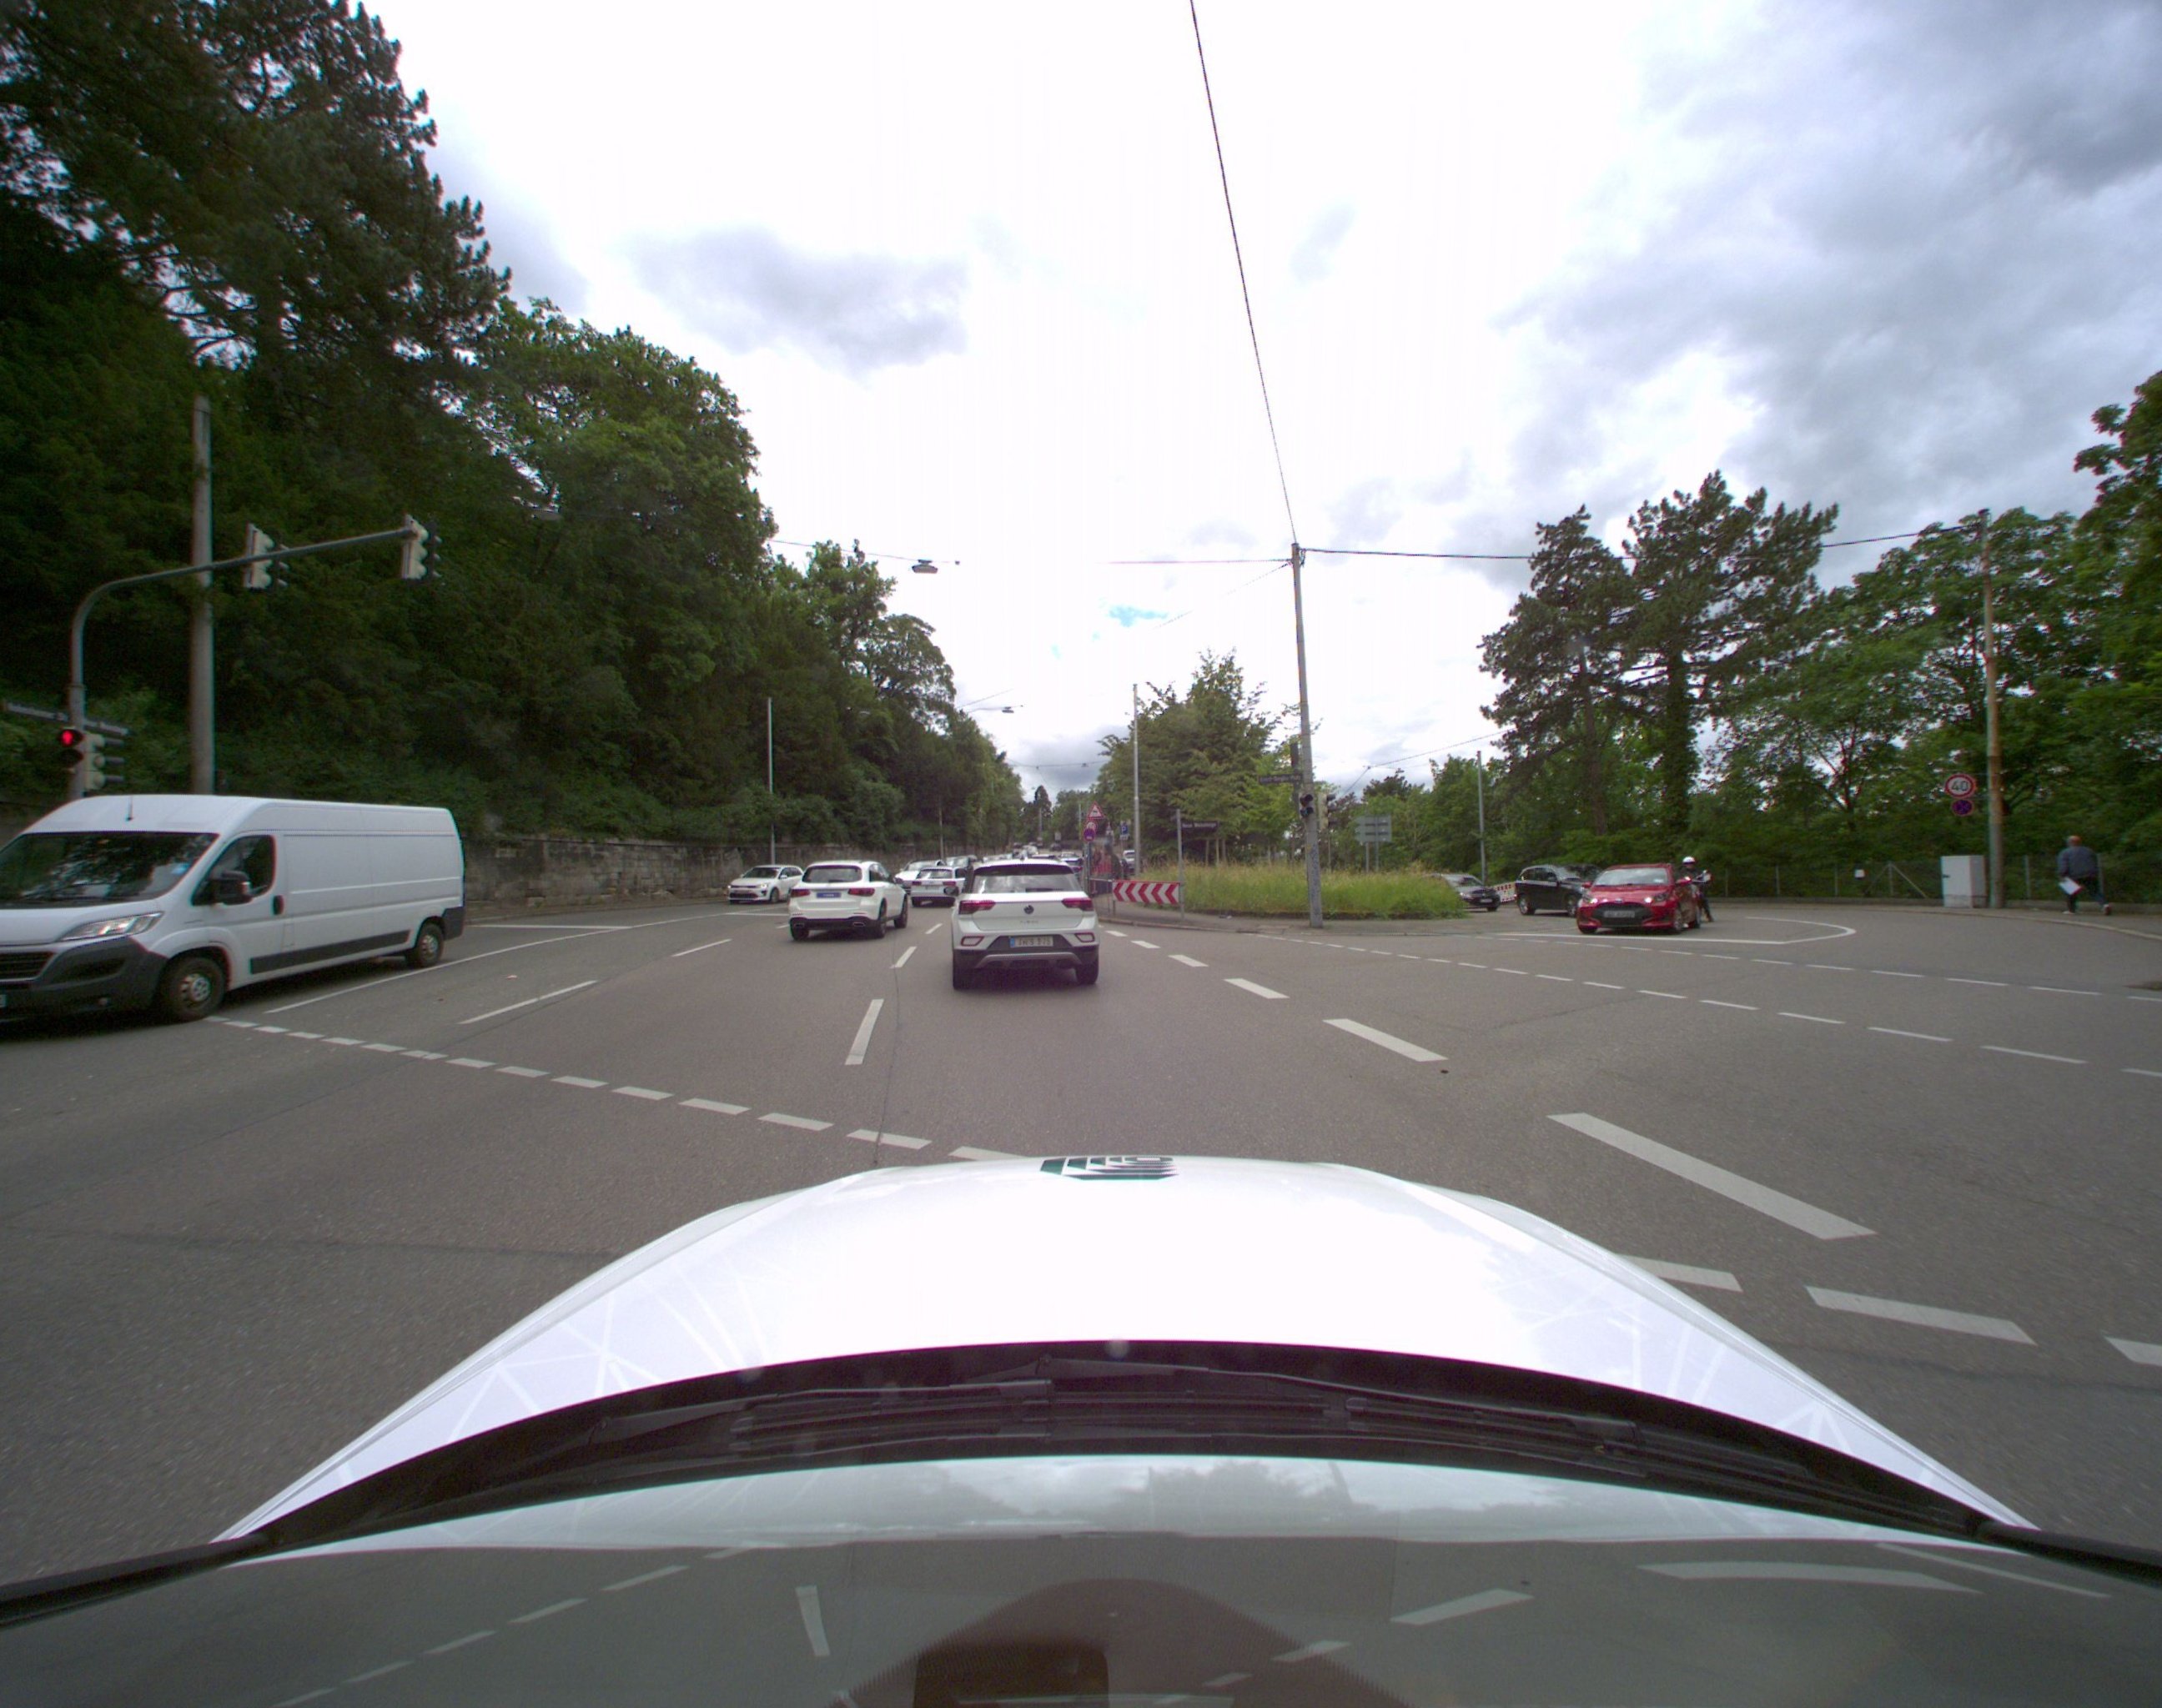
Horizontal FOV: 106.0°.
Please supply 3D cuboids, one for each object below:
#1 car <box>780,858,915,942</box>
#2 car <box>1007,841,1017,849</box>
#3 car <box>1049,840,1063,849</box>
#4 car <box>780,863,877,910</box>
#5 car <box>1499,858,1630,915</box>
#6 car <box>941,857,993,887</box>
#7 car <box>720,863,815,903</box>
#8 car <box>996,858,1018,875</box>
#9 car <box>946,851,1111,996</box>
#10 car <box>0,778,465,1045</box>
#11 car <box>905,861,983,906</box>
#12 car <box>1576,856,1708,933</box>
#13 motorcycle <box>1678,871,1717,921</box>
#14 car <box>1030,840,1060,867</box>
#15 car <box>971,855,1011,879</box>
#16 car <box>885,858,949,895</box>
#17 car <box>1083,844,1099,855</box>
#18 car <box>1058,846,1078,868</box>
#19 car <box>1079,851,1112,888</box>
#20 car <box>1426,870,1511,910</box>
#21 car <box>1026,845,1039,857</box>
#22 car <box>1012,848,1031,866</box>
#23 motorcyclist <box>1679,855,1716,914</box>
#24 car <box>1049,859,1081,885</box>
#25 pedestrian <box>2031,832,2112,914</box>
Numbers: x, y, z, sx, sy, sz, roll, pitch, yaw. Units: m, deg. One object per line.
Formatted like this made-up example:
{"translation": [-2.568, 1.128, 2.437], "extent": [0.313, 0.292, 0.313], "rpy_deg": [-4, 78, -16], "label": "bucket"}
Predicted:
{"translation": [-5.056, 0.914, 18.313], "extent": [1.854, 1.605, 4.665], "rpy_deg": [-1, 0, -3], "label": "car"}
{"translation": [-15.854, -2.011, 186.469], "extent": [1.751, 1.786, 3.982], "rpy_deg": [-1, 0, -13], "label": "car"}
{"translation": [-4.568, -1.696, 147.174], "extent": [1.651, 1.450, 3.526], "rpy_deg": [-1, 0, -17], "label": "car"}
{"translation": [-8.764, 1.074, 28.664], "extent": [1.749, 1.442, 4.484], "rpy_deg": [0, 0, 4], "label": "car"}
{"translation": [16.027, 1.109, 27.323], "extent": [1.806, 1.677, 4.682], "rpy_deg": [-2, -3, 4], "label": "car"}
{"translation": [-6.568, 1.005, 47.275], "extent": [1.883, 1.567, 4.488], "rpy_deg": [0, 0, 7], "label": "car"}
{"translation": [-12.008, 1.070, 31.486], "extent": [1.629, 1.405, 4.073], "rpy_deg": [0, 0, 8], "label": "car"}
{"translation": [-6.830, 1.139, 75.467], "extent": [1.644, 1.518, 3.851], "rpy_deg": [0, -1, 0], "label": "car"}
{"translation": [-0.931, 0.799, 11.320], "extent": [1.755, 1.553, 4.321], "rpy_deg": [-2, 0, -11], "label": "car"}
{"translation": [-10.489, 0.494, 10.226], "extent": [1.995, 2.413, 5.874], "rpy_deg": [-1, 1, -11], "label": "car"}
{"translation": [-5.048, 1.039, 30.661], "extent": [1.857, 1.534, 4.781], "rpy_deg": [0, 0, 3], "label": "car"}
{"translation": [12.145, 0.837, 17.536], "extent": [1.652, 1.468, 3.978], "rpy_deg": [-5, -4, 44], "label": "car"}
{"translation": [15.515, 1.041, 20.473], "extent": [0.593, 1.152, 1.591], "rpy_deg": [-5, -2, 42], "label": "motorcycle"}
{"translation": [-2.297, -0.084, 52.577], "extent": [1.783, 1.636, 3.735], "rpy_deg": [0, 1, -1], "label": "car"}
{"translation": [-5.891, 0.839, 53.783], "extent": [1.808, 1.440, 4.068], "rpy_deg": [0, 1, 5], "label": "car"}
{"translation": [-7.803, 1.036, 39.236], "extent": [1.985, 1.637, 4.401], "rpy_deg": [1, 0, 3], "label": "car"}
{"translation": [1.384, -0.648, 111.113], "extent": [1.645, 1.450, 3.537], "rpy_deg": [-1, 0, -8], "label": "car"}
{"translation": [-1.252, 0.283, 74.523], "extent": [1.630, 1.819, 3.996], "rpy_deg": [-3, 0, -2], "label": "car"}
{"translation": [0.743, 0.743, 40.624], "extent": [1.488, 1.749, 3.121], "rpy_deg": [-1, 0, 3], "label": "car"}
{"translation": [16.059, 1.505, 33.965], "extent": [1.710, 1.485, 4.001], "rpy_deg": [-2, -3, 2], "label": "car"}
{"translation": [-6.439, -0.442, 108.729], "extent": [1.643, 1.450, 3.543], "rpy_deg": [-1, 1, -3], "label": "car"}
{"translation": [-6.672, 0.315, 91.017], "extent": [1.727, 2.013, 3.933], "rpy_deg": [-1, 0, 1], "label": "car"}
{"translation": [15.510, 0.761, 20.487], "extent": [0.593, 1.430, 0.762], "rpy_deg": [-5, -2, 42], "label": "motorcyclist"}
{"translation": [-0.895, 0.978, 46.259], "extent": [1.622, 1.420, 3.856], "rpy_deg": [0, 0, 2], "label": "car"}
{"translation": [20.836, 0.395, 17.154], "extent": [0.663, 1.630, 0.689], "rpy_deg": [-7, -4, 21], "label": "pedestrian"}
